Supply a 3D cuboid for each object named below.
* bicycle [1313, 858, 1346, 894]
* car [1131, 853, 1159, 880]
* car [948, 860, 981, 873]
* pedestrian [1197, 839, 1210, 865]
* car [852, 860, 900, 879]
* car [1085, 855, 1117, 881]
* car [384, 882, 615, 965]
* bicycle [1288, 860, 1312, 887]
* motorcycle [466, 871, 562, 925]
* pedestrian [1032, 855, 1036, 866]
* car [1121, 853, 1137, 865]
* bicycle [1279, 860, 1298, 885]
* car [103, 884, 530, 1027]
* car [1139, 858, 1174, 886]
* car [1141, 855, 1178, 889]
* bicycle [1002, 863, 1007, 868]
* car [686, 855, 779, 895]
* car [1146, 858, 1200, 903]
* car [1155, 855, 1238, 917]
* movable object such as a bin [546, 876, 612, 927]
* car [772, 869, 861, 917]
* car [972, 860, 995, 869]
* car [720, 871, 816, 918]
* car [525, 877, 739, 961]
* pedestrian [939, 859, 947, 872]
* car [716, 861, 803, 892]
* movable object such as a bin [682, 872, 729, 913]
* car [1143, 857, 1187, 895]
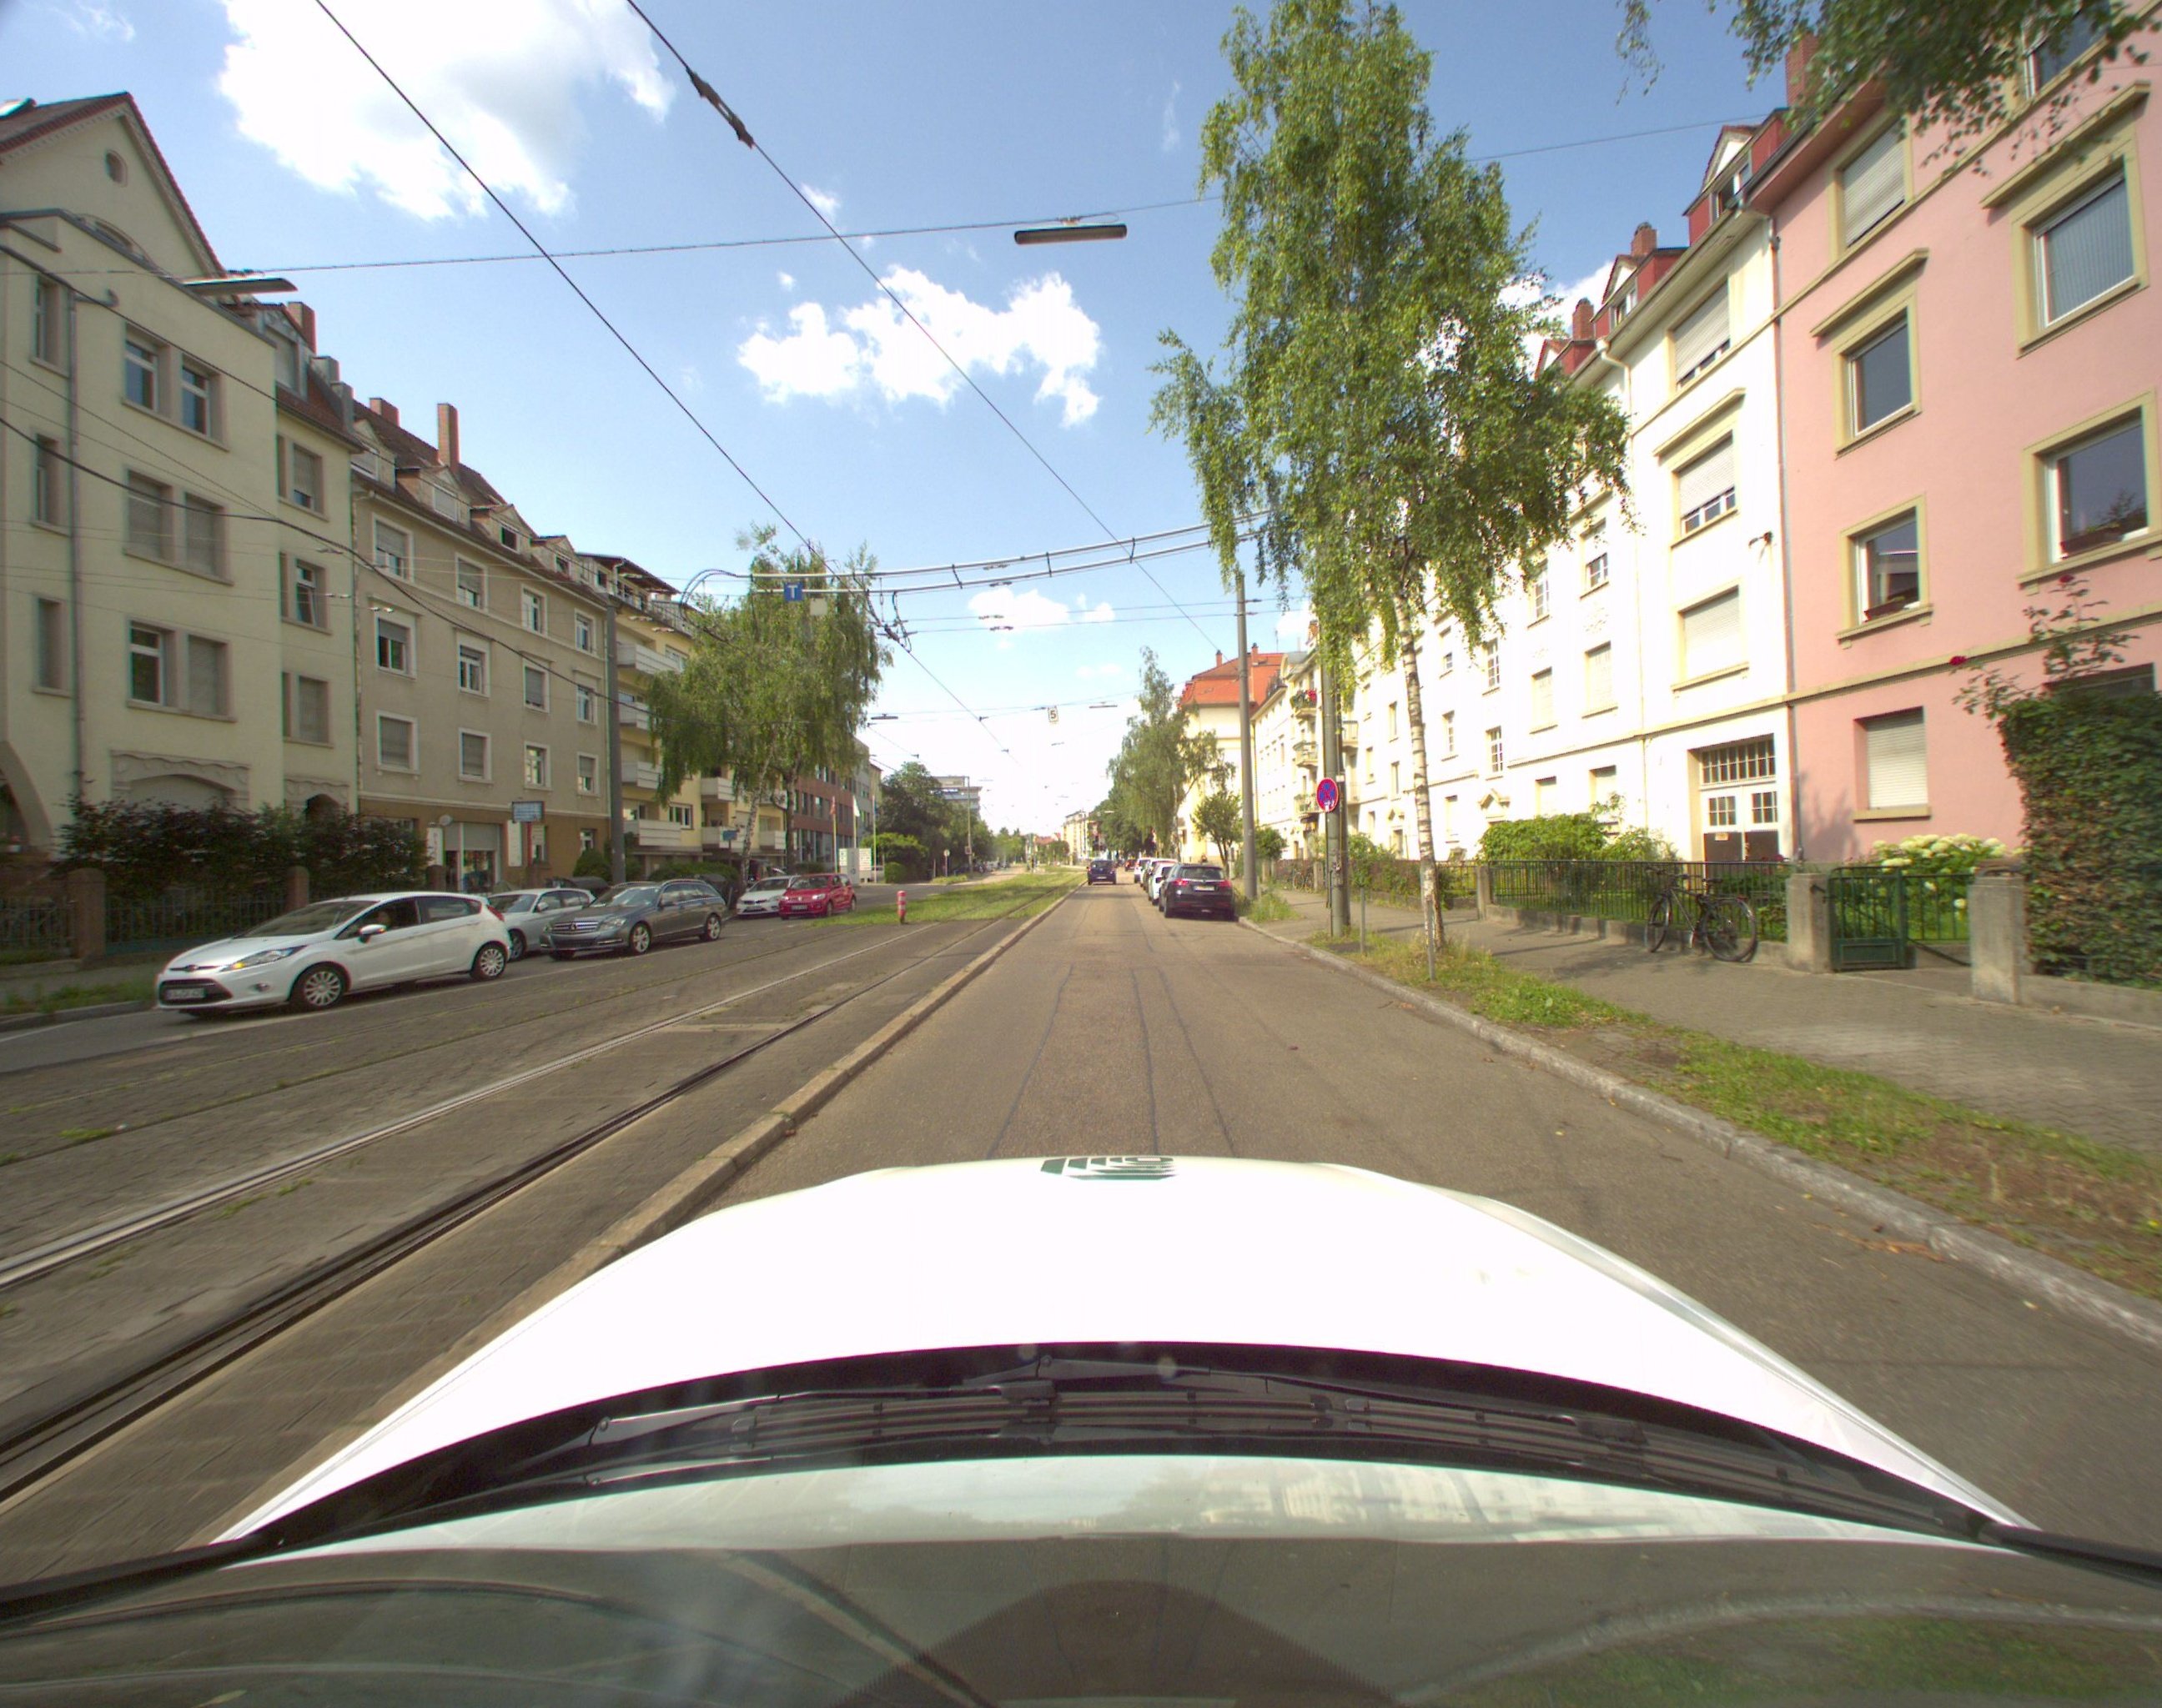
[{"bbox_3d":[7.872,0.666,25.853,0.469,1.077,2.185,-2,0,4],"label":"bicycle"},{"bbox_3d":[4.154,0.772,52.274,1.713,1.629,4.006,1,0,5],"label":"car"},{"bbox_3d":[-15.783,1.691,110.630,4.156,1.640,1.705,-2,0,-43],"label":"car"},{"bbox_3d":[7.960,-0.135,52.861,0.726,1.683,0.692,-4,0,6],"label":"pedestrian"},{"bbox_3d":[-19.126,1.468,76.132,3.975,1.596,1.999,-2,0,-1],"label":"car"},{"bbox_3d":[1.255,0.811,49.295,1.760,1.462,3.779,-1,0,4],"label":"car"},{"bbox_3d":[-11.961,1.354,17.137,1.747,1.356,3.999,-2,0,4],"label":"car"},{"bbox_3d":[8.041,0.705,29.974,0.376,0.943,2.010,-2,0,2],"label":"bicycle"},{"bbox_3d":[-14.358,1.079,20.725,0.898,1.242,2.292,-2,0,-3],"label":"motorcycle"},{"bbox_3d":[-7.927,1.143,136.877,0.601,1.766,0.640,-2,0,6],"label":"pedestrian"},{"bbox_3d":[5.733,0.561,97.155,1.694,1.368,3.515,0,0,1],"label":"car"},{"bbox_3d":[8.133,0.710,31.927,0.386,0.938,1.586,-2,0,2],"label":"bicycle"},{"bbox_3d":[-10.194,1.243,11.402,1.746,1.414,4.141,-4,-1,7],"label":"car"},{"bbox_3d":[4.009,0.939,43.795,1.666,1.417,3.797,1,0,2],"label":"car"},{"bbox_3d":[3.727,0.823,39.014,1.488,1.579,3.760,0,0,1],"label":"car"},{"bbox_3d":[-16.348,2.450,174.147,0.678,0.971,2.178,-3,0,0],"label":"bicycle"},{"bbox_3d":[-18.105,1.059,42.381,3.967,2.013,1.940,0,0,5],"label":"car"},{"bbox_3d":[3.232,0.896,29.080,1.613,1.452,3.921,2,0,2],"label":"car"},{"bbox_3d":[3.099,0.807,22.645,1.785,1.520,4.528,1,0,2],"label":"car"},{"bbox_3d":[-14.475,1.355,23.534,0.947,1.367,1.522,0,0,2],"label":"movable object such as a bin"},{"bbox_3d":[-8.875,1.281,27.636,1.572,1.387,3.696,-3,0,3],"label":"car"},{"bbox_3d":[-18.046,1.910,150.271,4.024,1.367,1.695,-2,0,-45],"label":"car"},{"bbox_3d":[-11.472,1.445,30.156,1.638,1.477,4.229,-3,0,3],"label":"car"},{"bbox_3d":[-9.326,1.279,17.447,1.747,1.356,4.517,-4,-1,4],"label":"car"},{"bbox_3d":[-17.191,1.469,101.810,0.742,1.574,0.890,-2,-2,5],"label":"pedestrian"},{"bbox_3d":[-17.586,1.212,44.673,3.971,1.602,1.974,0,0,2],"label":"car"},{"bbox_3d":[-13.833,1.417,30.041,0.947,1.430,1.522,0,0,2],"label":"movable object such as a bin"},{"bbox_3d":[3.478,0.869,34.246,1.583,1.452,3.846,2,0,2],"label":"car"}]
